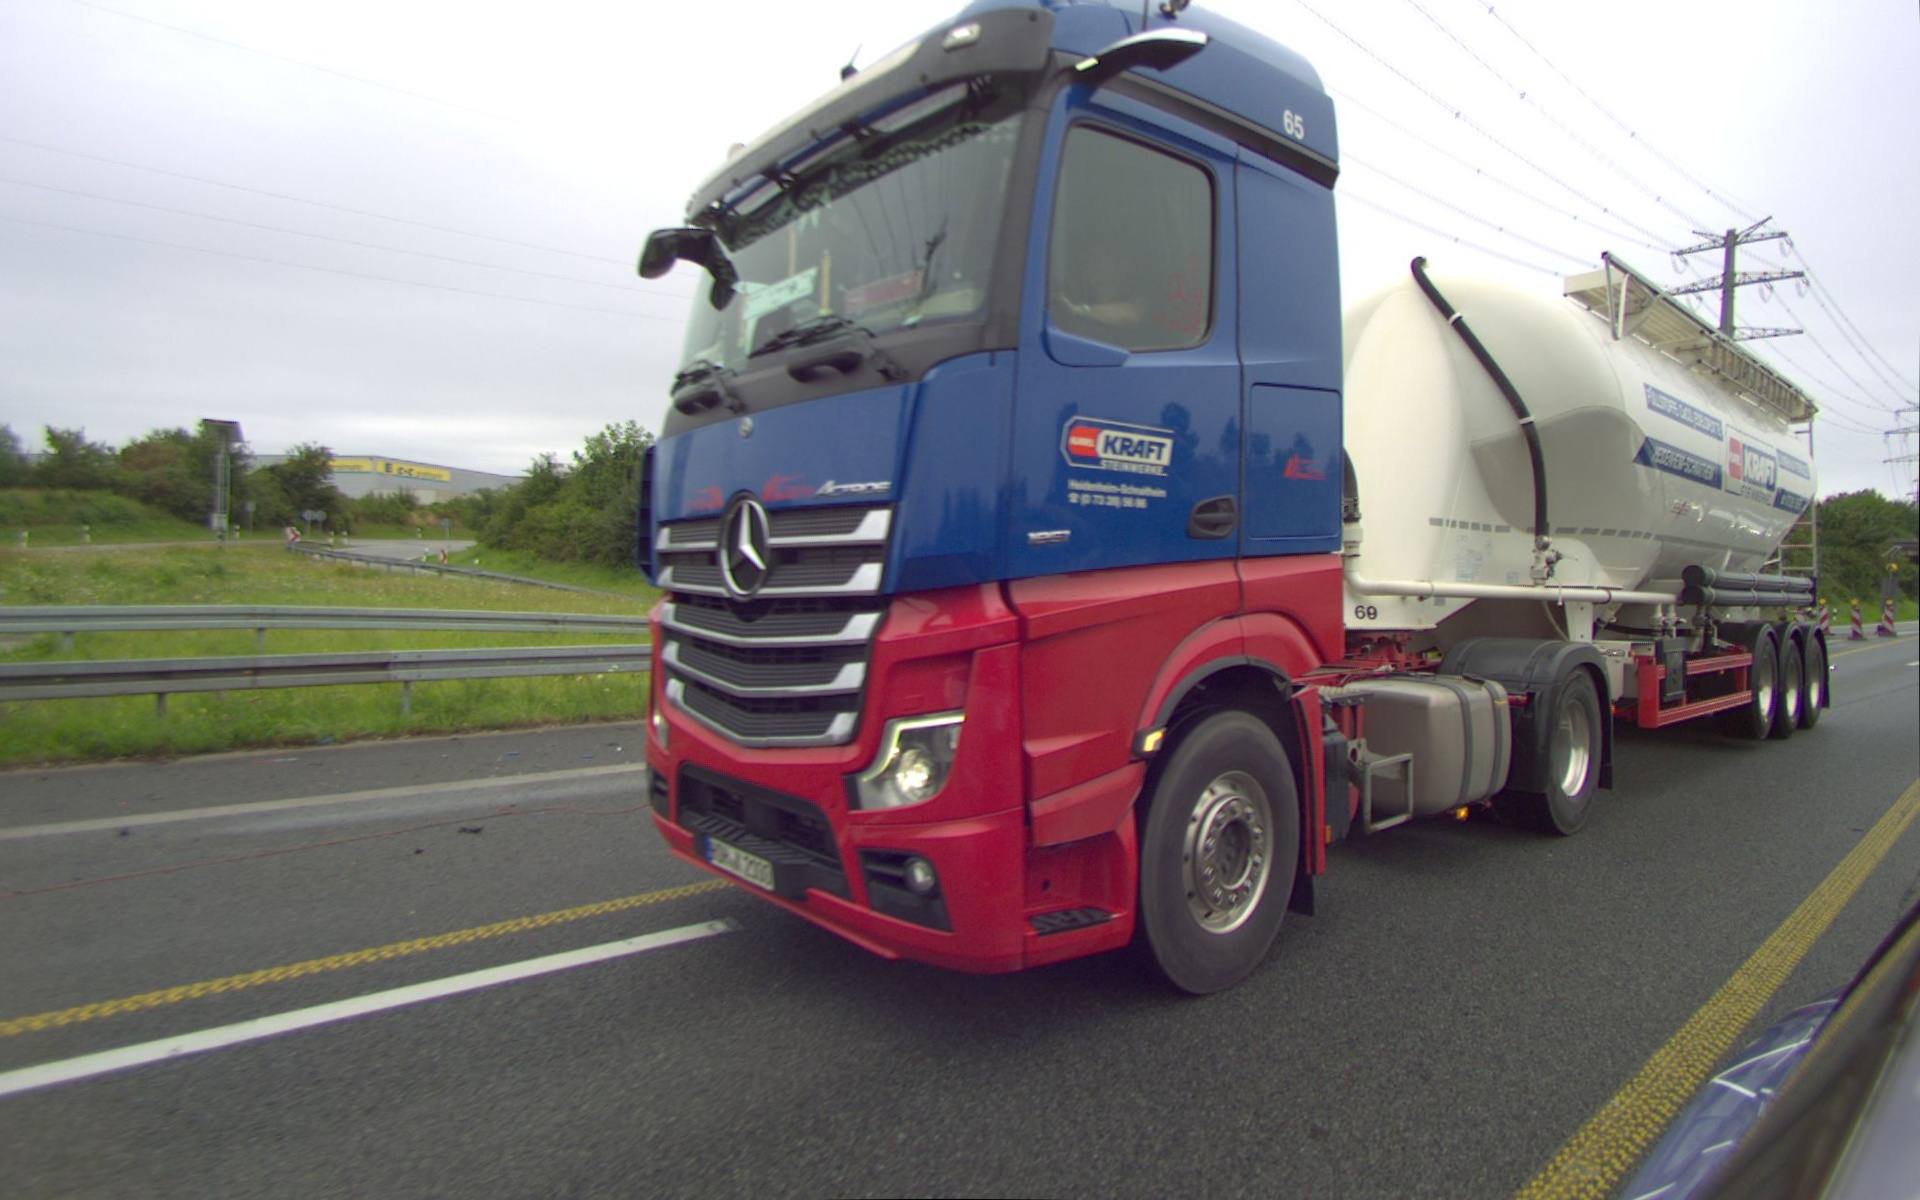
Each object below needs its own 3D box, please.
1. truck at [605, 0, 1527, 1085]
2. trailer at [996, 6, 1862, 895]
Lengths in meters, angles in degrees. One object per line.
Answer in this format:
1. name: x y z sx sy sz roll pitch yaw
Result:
1. truck: 0.649 -0.696 5.040 3.929 3.996 2.553 -1 1 -39
2. trailer: 5.629 -0.753 9.364 12.136 3.882 2.524 -1 1 -41
